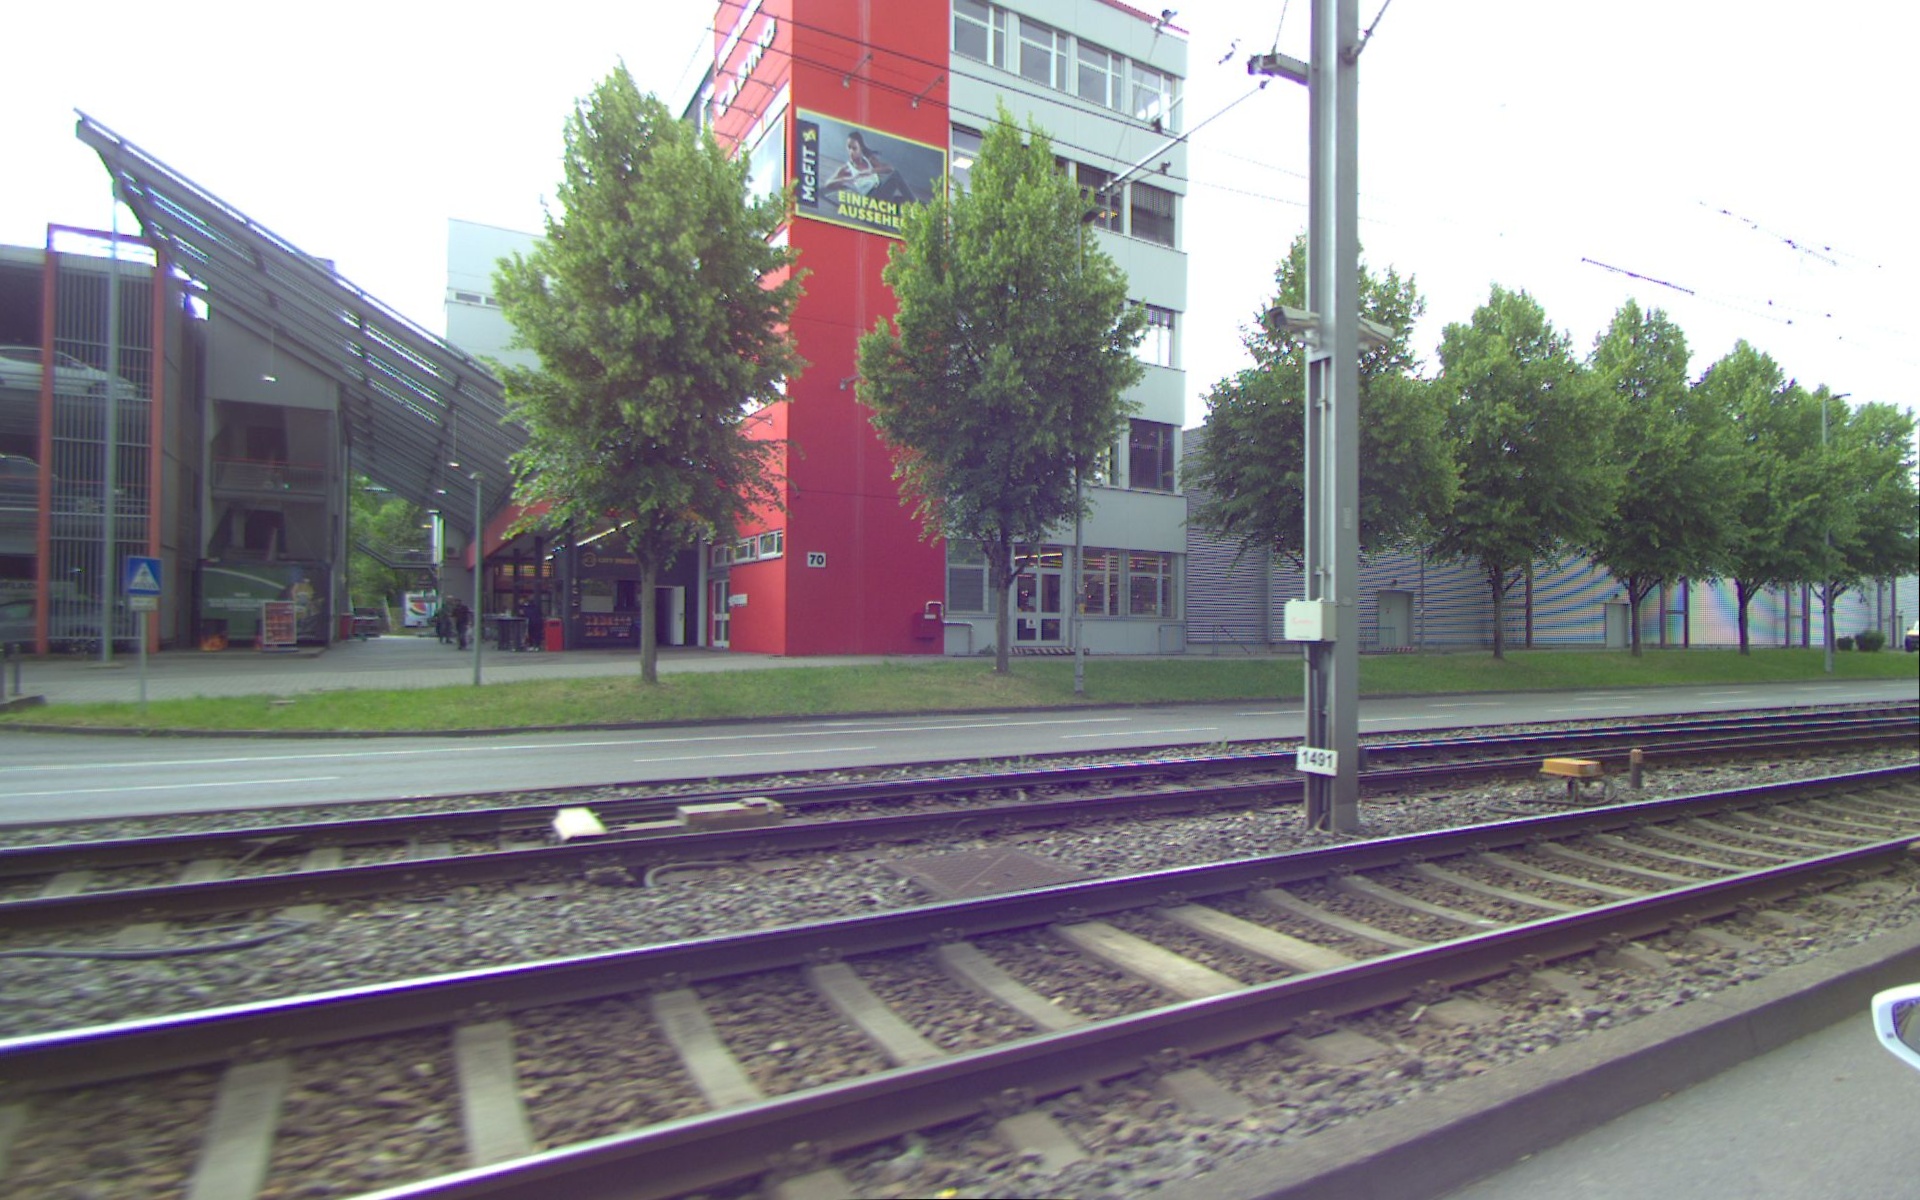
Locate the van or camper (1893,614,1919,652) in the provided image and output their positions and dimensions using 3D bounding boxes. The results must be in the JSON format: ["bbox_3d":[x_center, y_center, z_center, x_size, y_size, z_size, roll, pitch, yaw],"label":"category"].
[{"bbox_3d":[54.147,1.845,55.771,5.181,2.040,2.093,1,-1,-30],"label":"van or camper"}]

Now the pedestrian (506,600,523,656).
[{"bbox_3d":[-14.731,0.930,33.223,0.486,1.821,0.375,1,-1,-27],"label":"pedestrian"}]

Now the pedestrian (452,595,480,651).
[{"bbox_3d":[-17.597,0.811,35.766,0.573,1.952,0.654,0,-1,30],"label":"pedestrian"}]

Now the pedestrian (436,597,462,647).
[{"bbox_3d":[-20.132,0.877,39.568,0.573,1.952,0.654,0,-1,30],"label":"pedestrian"}]

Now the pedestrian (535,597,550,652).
[{"bbox_3d":[-13.975,0.816,33.646,0.373,1.821,0.593,1,-1,-29],"label":"pedestrian"}]
